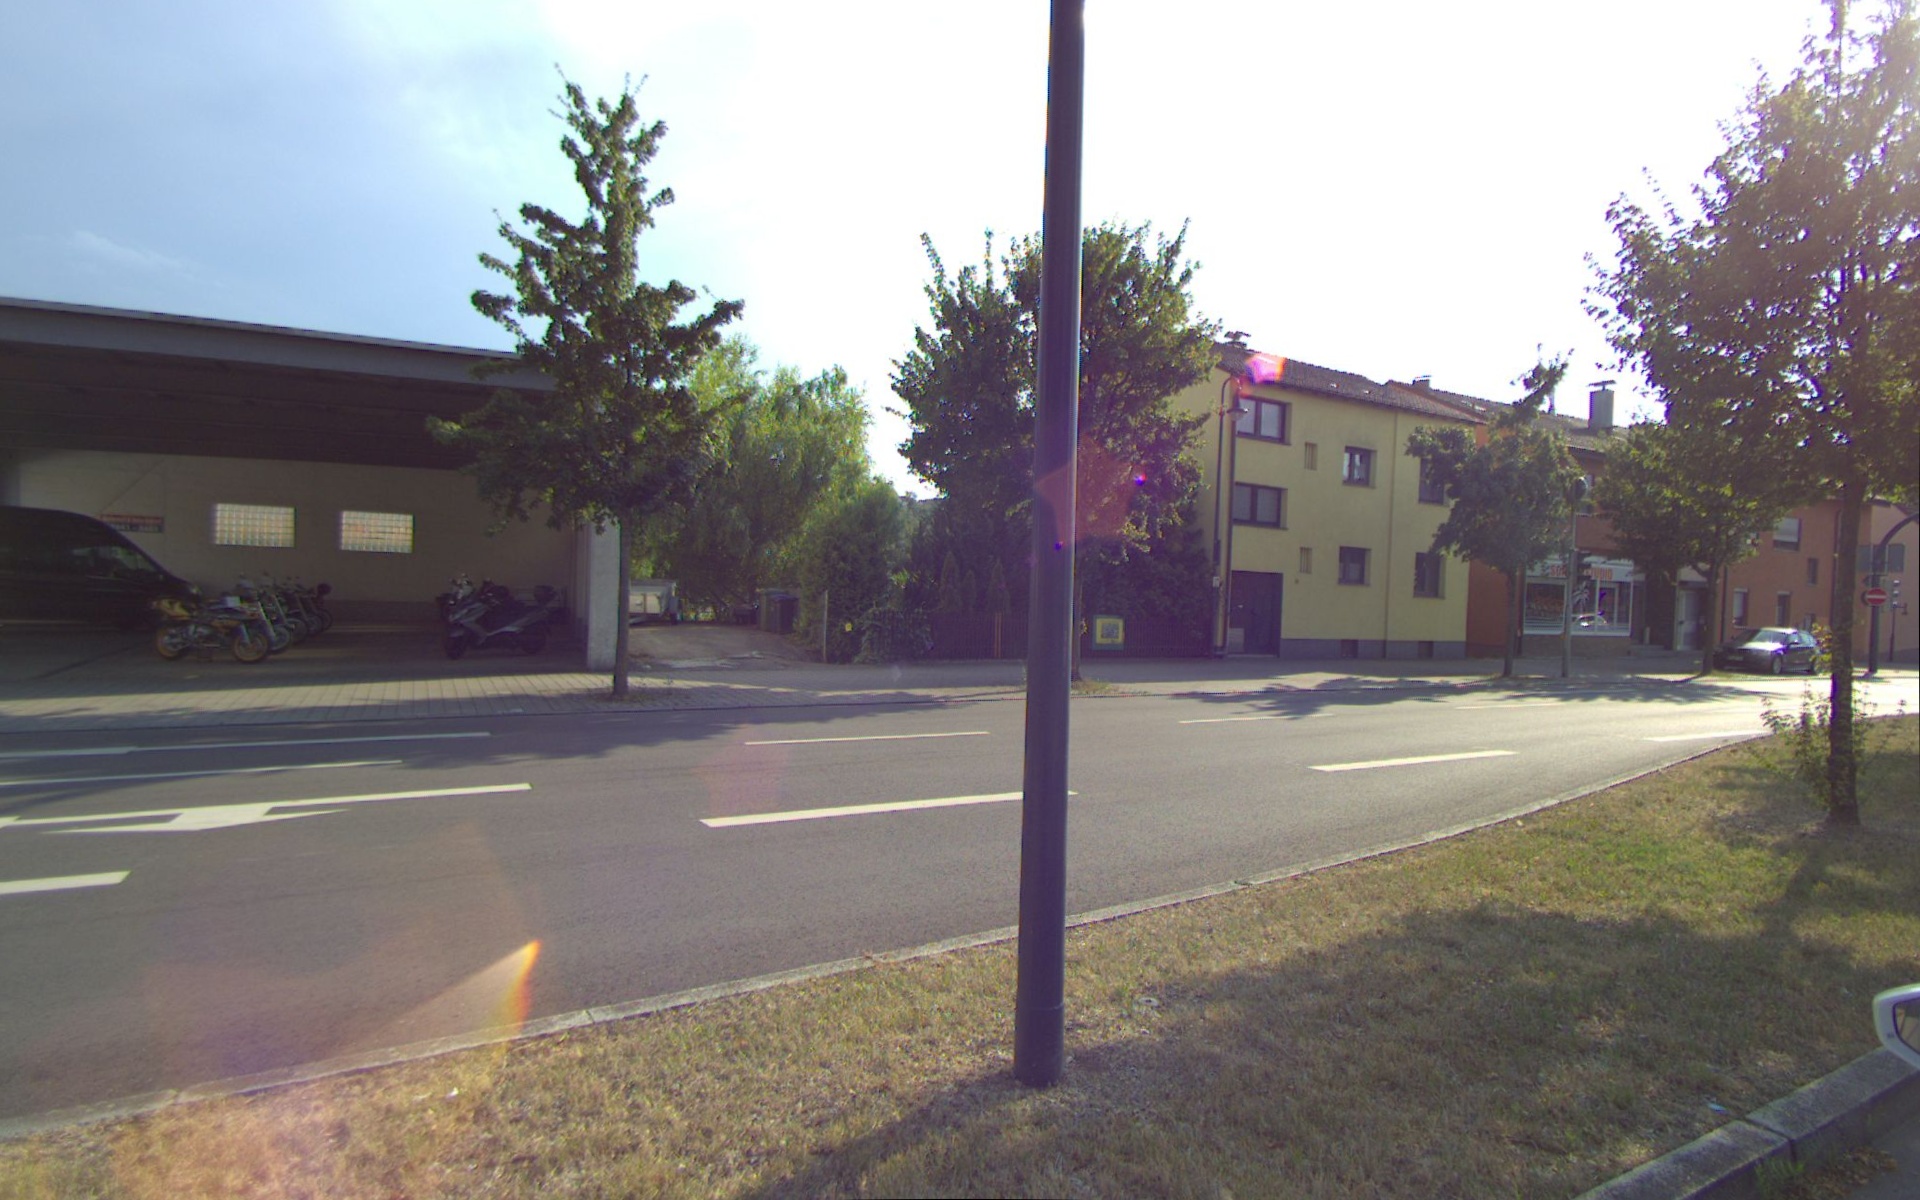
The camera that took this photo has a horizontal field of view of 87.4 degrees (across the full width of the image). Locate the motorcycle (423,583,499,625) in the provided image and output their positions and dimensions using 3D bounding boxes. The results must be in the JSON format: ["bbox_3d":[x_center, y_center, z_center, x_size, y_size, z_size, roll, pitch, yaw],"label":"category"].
[{"bbox_3d":[-15.962,0.108,32.177,0.621,1.314,2.113,1,2,36],"label":"motorcycle"}]

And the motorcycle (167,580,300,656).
[{"bbox_3d":[-13.635,0.324,18.862,2.219,1.354,0.631,1,0,10],"label":"motorcycle"}]

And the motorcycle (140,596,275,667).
[{"bbox_3d":[-12.500,0.508,16.697,1.993,1.101,0.631,1,0,12],"label":"motorcycle"}]

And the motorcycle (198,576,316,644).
[{"bbox_3d":[-14.756,0.210,21.105,2.219,1.354,0.631,1,0,10],"label":"motorcycle"}]

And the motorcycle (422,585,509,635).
[{"bbox_3d":[-13.516,0.246,27.518,0.621,1.314,2.113,1,2,36],"label":"motorcycle"}]

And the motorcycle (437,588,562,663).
[{"bbox_3d":[-8.622,0.434,18.897,0.621,1.314,2.113,1,2,36],"label":"motorcycle"}]

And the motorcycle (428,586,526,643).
[{"bbox_3d":[-11.770,0.317,24.537,0.621,1.314,2.113,1,2,36],"label":"motorcycle"}]

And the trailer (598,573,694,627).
[{"bbox_3d":[-8.220,-0.001,26.617,1.698,1.280,3.995,1,0,-7],"label":"trailer"}]

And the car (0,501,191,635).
[{"bbox_3d":[-20.456,-0.675,22.092,1.962,2.789,5.280,1,0,26],"label":"car"}]

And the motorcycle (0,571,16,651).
[{"bbox_3d":[-17.291,0.174,16.725,0.619,1.380,2.225,1,0,24],"label":"motorcycle"}]

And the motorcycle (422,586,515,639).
[{"bbox_3d":[-12.652,0.298,25.920,0.621,1.314,2.113,1,2,36],"label":"motorcycle"}]

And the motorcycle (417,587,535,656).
[{"bbox_3d":[-9.816,0.406,20.459,0.621,1.314,2.113,1,2,36],"label":"motorcycle"}]

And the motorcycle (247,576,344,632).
[{"bbox_3d":[-16.912,0.109,25.573,2.219,1.354,0.631,1,0,10],"label":"motorcycle"}]

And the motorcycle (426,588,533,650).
[{"bbox_3d":[-10.745,0.389,22.537,0.621,1.314,2.113,1,2,36],"label":"motorcycle"}]

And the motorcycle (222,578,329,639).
[{"bbox_3d":[-15.888,0.188,23.314,2.219,1.354,0.631,1,0,10],"label":"motorcycle"}]

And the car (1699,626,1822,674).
[{"bbox_3d":[25.966,1.595,32.552,3.953,1.319,1.728,1,4,-30],"label":"car"}]
